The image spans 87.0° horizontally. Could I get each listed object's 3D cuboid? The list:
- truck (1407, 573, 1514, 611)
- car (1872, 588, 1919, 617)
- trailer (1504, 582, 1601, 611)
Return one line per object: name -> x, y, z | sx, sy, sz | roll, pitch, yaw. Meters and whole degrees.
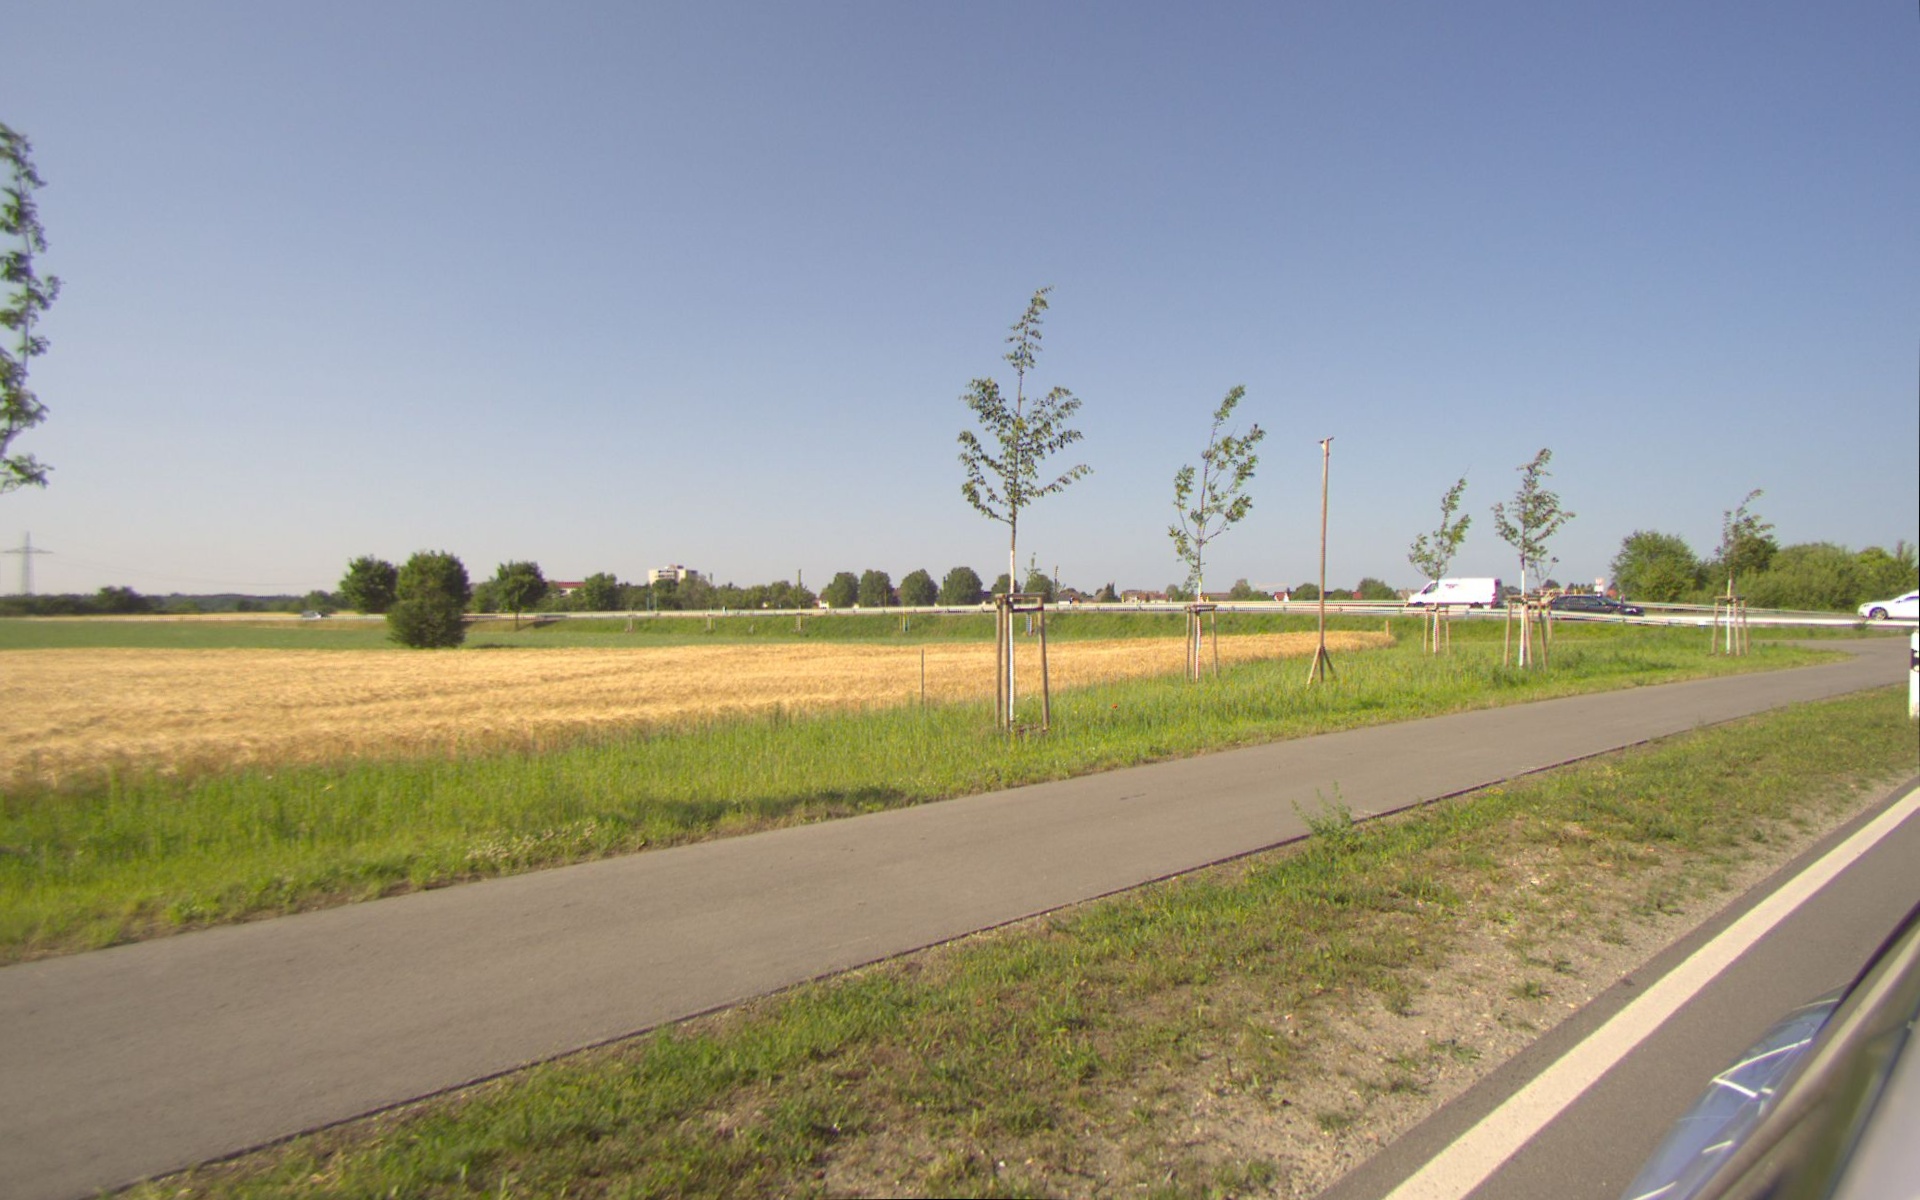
truck -> 33.581, -0.580, 68.103 | 2.038, 2.435, 6.181 | -1, 1, -45
car -> 49.826, 0.136, 51.613 | 1.732, 1.510, 4.706 | 0, 1, -37
trailer -> 37.482, -0.266, 64.068 | 1.949, 1.759, 4.999 | -1, 1, -44
